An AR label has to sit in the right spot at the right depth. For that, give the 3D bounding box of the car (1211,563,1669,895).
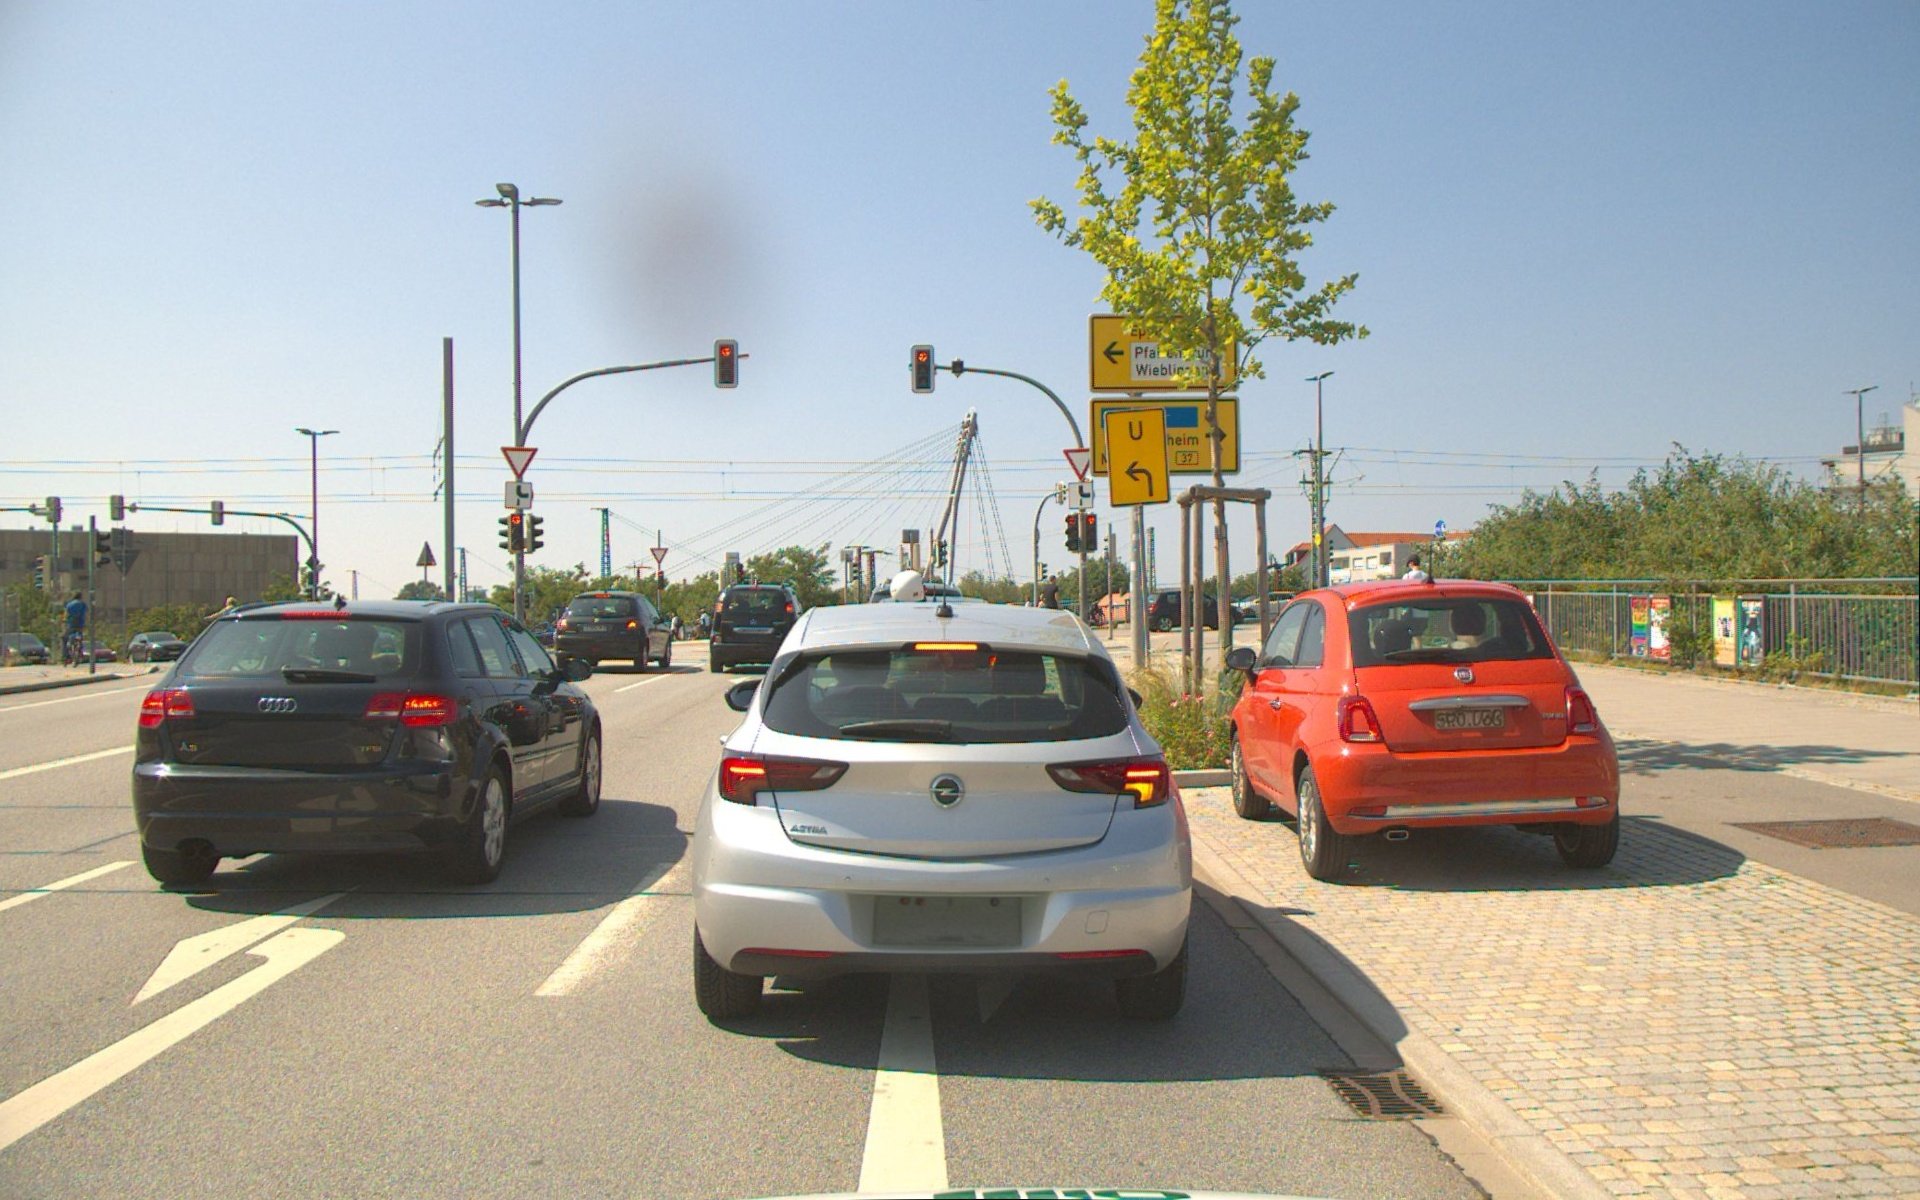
[{"bbox_3d":[2.652,0.605,10.063,1.635,1.566,3.917,-2,1,0],"label":"car"}]

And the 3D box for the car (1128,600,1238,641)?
[{"bbox_3d":[8.220,0.764,61.123,3.704,1.414,1.663,1,-1,-8],"label":"car"}]

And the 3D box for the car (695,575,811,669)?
[{"bbox_3d":[-3.874,0.419,31.496,1.767,1.650,3.915,1,-1,-1],"label":"car"}]

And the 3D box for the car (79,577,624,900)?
[{"bbox_3d":[-3.179,0.658,9.547,1.671,1.437,3.999,1,-1,-1],"label":"car"}]

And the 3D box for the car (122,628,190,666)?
[{"bbox_3d":[-39.995,2.331,82.209,4.140,1.771,1.706,0,-1,44],"label":"car"}]

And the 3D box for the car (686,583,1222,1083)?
[{"bbox_3d":[-0.065,0.730,7.282,1.656,1.546,4.269,0,0,-1],"label":"car"}]

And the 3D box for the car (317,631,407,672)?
[{"bbox_3d":[-22.954,1.960,63.472,3.083,1.464,1.584,1,-1,28],"label":"car"}]

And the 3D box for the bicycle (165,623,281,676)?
[{"bbox_3d":[-16.954,1.132,38.077,2.310,1.147,0.677,1,-1,-2],"label":"bicycle"}]

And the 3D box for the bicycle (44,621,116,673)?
[{"bbox_3d":[-21.308,1.145,40.045,2.489,1.153,0.724,-2,3,44],"label":"bicycle"}]

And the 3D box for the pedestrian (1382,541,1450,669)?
[{"bbox_3d":[6.835,0.079,24.813,0.743,1.862,0.884,1,-1,-1],"label":"pedestrian"}]

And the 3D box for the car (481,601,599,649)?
[{"bbox_3d":[-15.346,0.912,60.494,3.734,1.657,1.858,1,-1,12],"label":"car"}]

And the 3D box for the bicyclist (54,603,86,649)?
[{"bbox_3d":[-23.426,0.687,43.529,0.721,1.196,0.652,1,-1,-30],"label":"bicyclist"}]

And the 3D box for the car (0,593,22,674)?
[{"bbox_3d":[-25.696,0.844,43.471,1.654,2.049,3.957,2,-1,-32],"label":"car"}]

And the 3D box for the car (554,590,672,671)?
[{"bbox_3d":[-6.401,0.556,30.809,1.555,1.419,3.338,0,-1,-2],"label":"car"}]

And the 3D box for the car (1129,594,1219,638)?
[{"bbox_3d":[10.414,0.788,80.551,3.945,2.049,1.980,-1,-2,-30],"label":"car"}]

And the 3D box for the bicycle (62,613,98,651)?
[{"bbox_3d":[-24.801,0.894,46.640,0.595,1.025,2.496,1,-1,-21],"label":"bicycle"}]

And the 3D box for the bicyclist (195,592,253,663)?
[{"bbox_3d":[-16.940,0.626,38.081,0.926,1.596,0.822,1,-1,-2],"label":"bicyclist"}]

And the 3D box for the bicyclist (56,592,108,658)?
[{"bbox_3d":[-21.218,0.606,39.978,0.810,1.587,0.858,0,-1,42],"label":"bicyclist"}]

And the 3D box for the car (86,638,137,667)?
[{"bbox_3d":[-46.540,2.850,90.717,1.668,1.481,3.943,2,-1,-39],"label":"car"}]

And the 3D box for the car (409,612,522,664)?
[{"bbox_3d":[-19.926,1.514,66.676,3.904,2.049,2.001,0,-1,19],"label":"car"}]

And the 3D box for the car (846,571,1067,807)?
[{"bbox_3d":[-0.074,0.684,14.139,1.602,1.703,3.743,1,-1,-2],"label":"car"}]

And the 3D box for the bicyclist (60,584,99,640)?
[{"bbox_3d":[-24.785,0.337,46.571,0.828,1.528,0.655,2,-1,-20],"label":"bicyclist"}]

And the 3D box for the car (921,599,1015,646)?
[{"bbox_3d":[0.281,0.856,62.920,3.438,1.669,1.798,1,-1,-5],"label":"car"}]

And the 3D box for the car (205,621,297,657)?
[{"bbox_3d":[-31.388,1.720,73.144,4.403,1.481,1.989,1,-1,41],"label":"car"}]

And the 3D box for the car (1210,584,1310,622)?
[{"bbox_3d":[14.021,0.161,77.435,4.180,1.703,1.990,1,-1,-18],"label":"car"}]

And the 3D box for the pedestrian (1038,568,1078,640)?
[{"bbox_3d":[2.611,0.121,44.183,0.740,1.896,0.738,0,-1,43],"label":"pedestrian"}]
